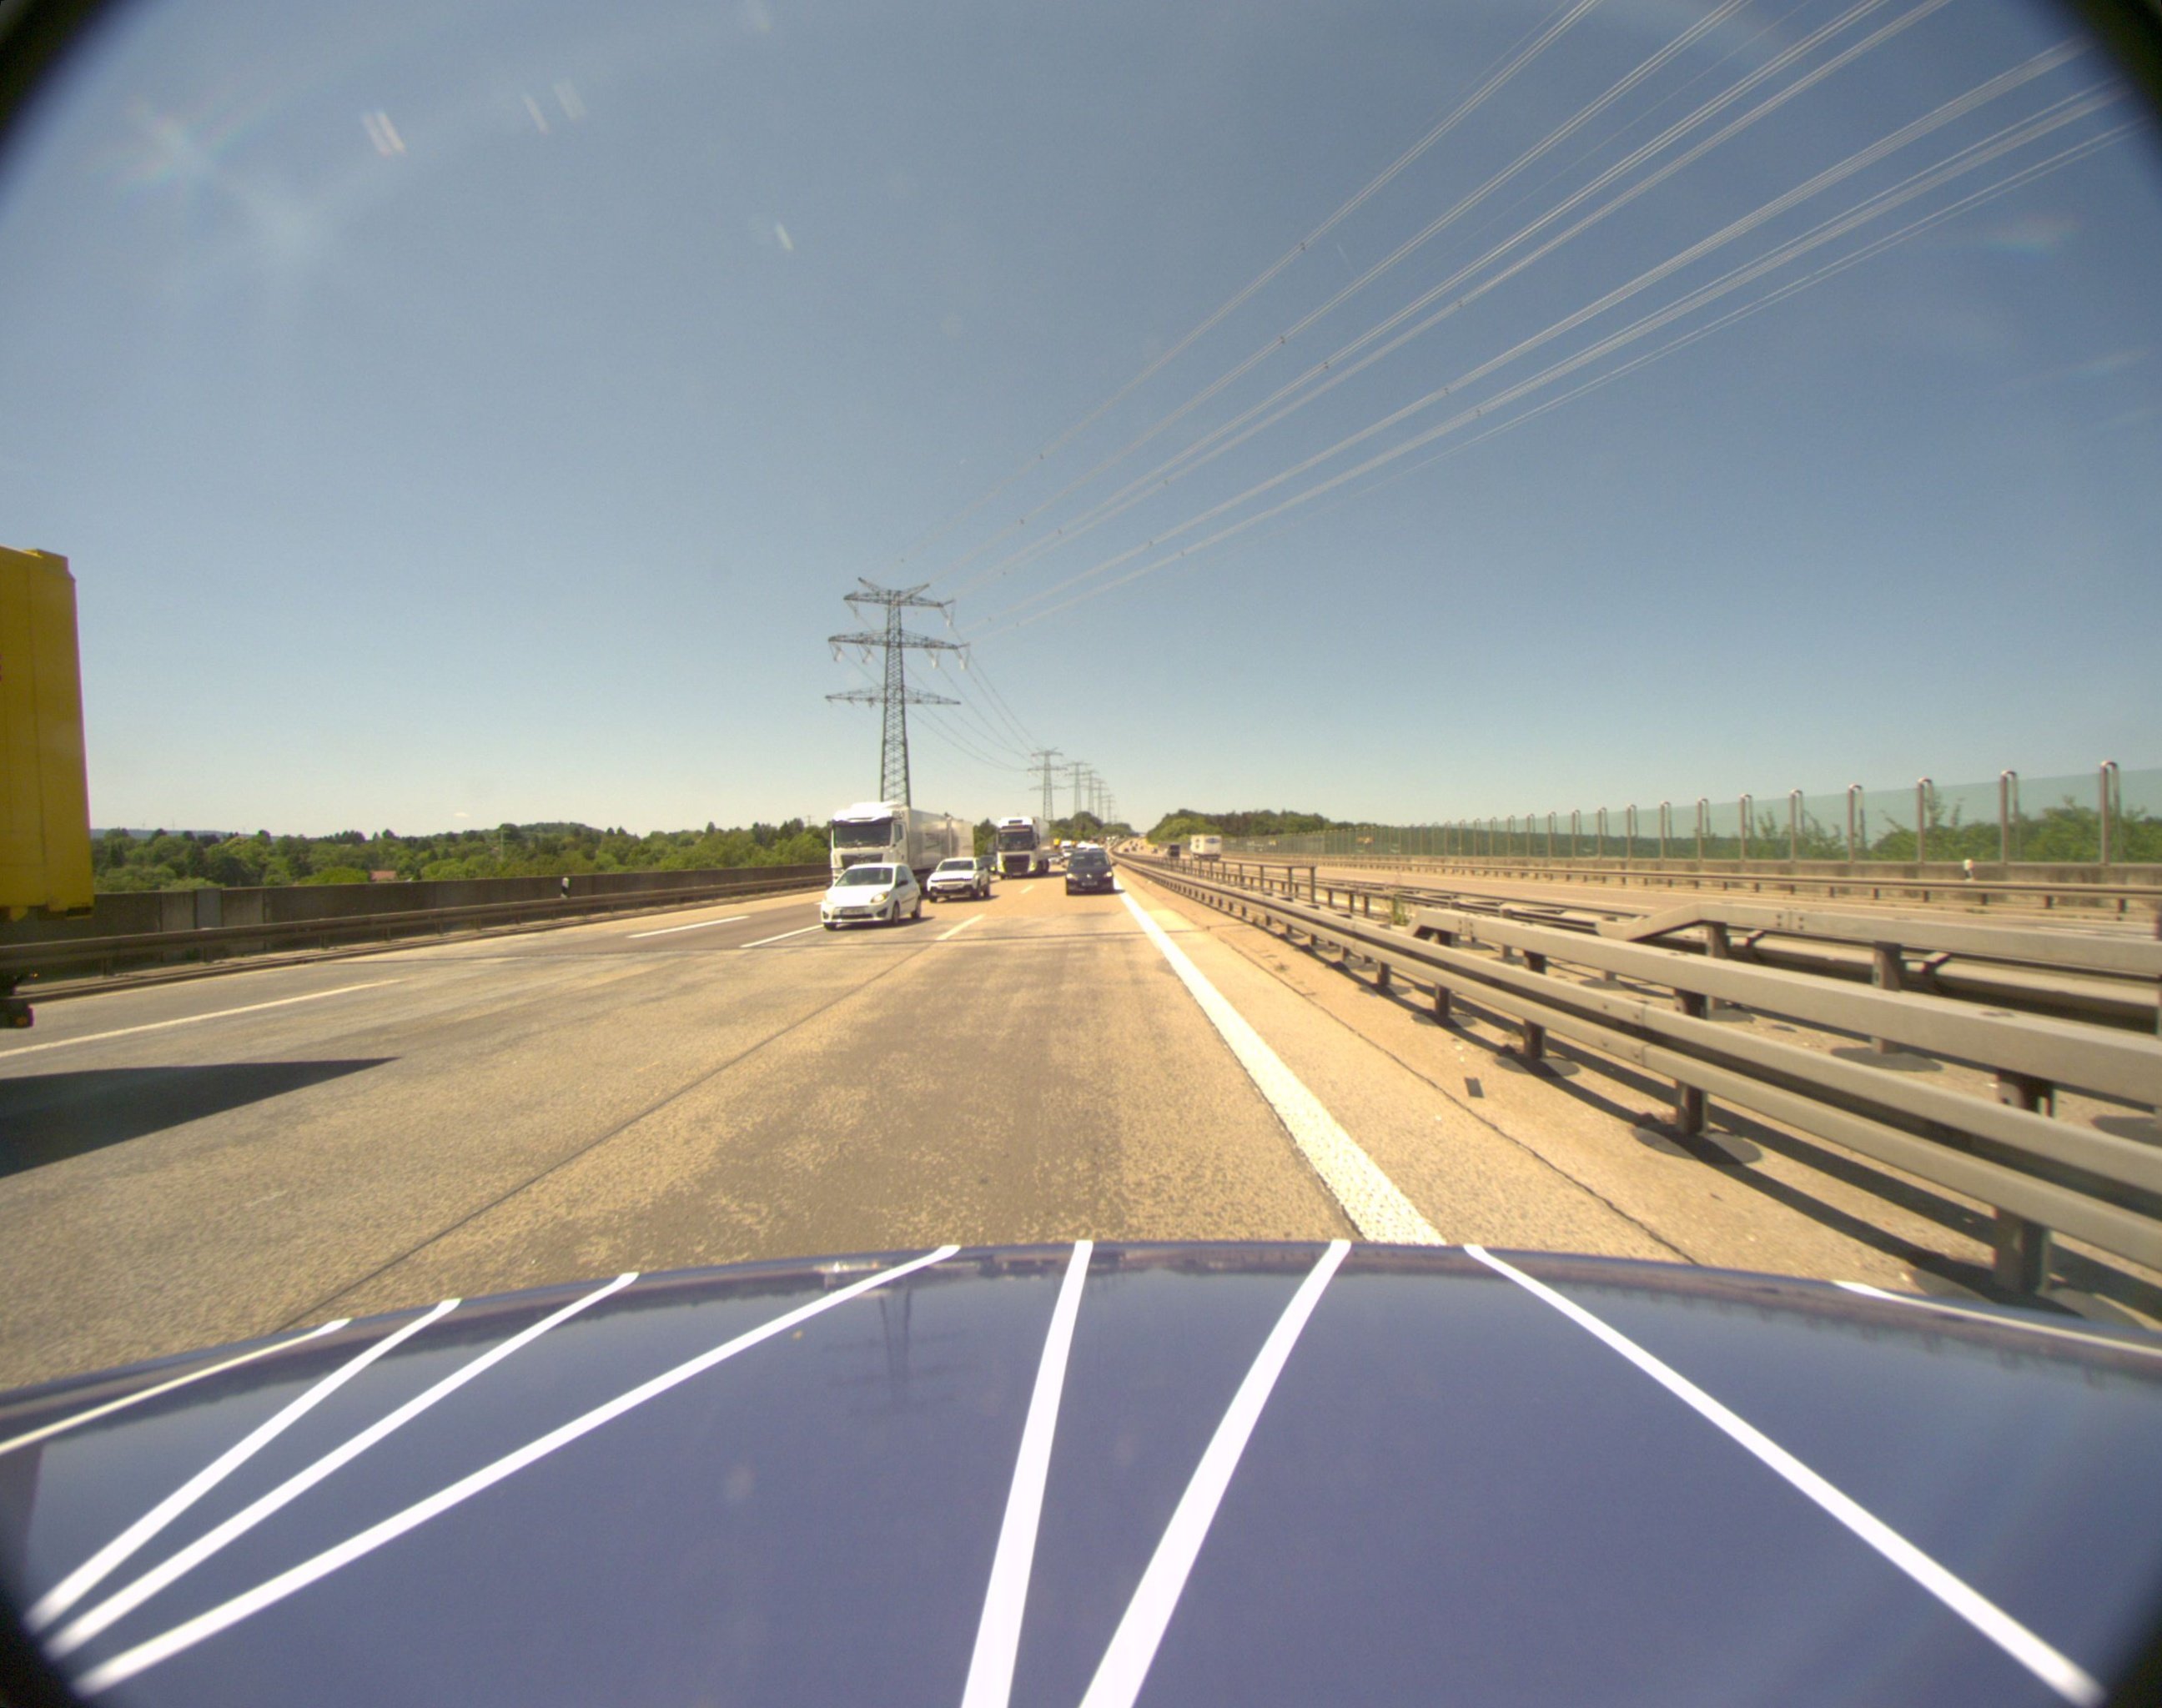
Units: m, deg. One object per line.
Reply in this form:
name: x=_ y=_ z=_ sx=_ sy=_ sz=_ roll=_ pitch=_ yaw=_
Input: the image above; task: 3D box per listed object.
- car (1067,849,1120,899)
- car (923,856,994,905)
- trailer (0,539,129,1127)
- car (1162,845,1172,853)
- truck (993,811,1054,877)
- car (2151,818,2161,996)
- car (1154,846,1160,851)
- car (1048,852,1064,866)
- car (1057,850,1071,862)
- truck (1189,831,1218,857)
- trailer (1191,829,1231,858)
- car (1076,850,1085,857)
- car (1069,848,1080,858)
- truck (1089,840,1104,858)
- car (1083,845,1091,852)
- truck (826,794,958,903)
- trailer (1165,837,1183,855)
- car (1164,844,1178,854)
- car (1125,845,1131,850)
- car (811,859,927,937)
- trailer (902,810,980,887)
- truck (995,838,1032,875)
car: x=0.488 y=0.671 z=27.867 sx=1.748 sy=1.569 sz=3.999 roll=-3 pitch=1 yaw=2
car: x=-4.376 y=0.905 z=27.743 sx=1.776 sy=1.521 sz=3.851 roll=-3 pitch=1 yaw=2
trailer: x=-8.941 y=-0.069 z=1.190 sx=2.772 sy=4.093 sz=9.376 roll=-3 pitch=1 yaw=1
car: x=18.705 y=-1.048 z=164.970 sx=1.753 sy=1.686 sz=4.384 roll=0 pitch=1 yaw=1
truck: x=-3.831 y=-0.667 z=54.365 sx=2.717 sy=4.015 sz=14.255 roll=-3 pitch=0 yaw=2
car: x=12.669 y=0.575 z=5.851 sx=1.998 sy=1.930 sz=4.896 roll=-3 pitch=1 yaw=1
car: x=22.530 y=-1.619 z=225.479 sx=1.656 sy=1.454 sz=3.541 roll=0 pitch=1 yaw=1
car: x=-3.203 y=0.601 z=96.981 sx=1.821 sy=1.569 sz=3.999 roll=-3 pitch=1 yaw=1
car: x=-2.537 y=0.275 z=113.027 sx=1.821 sy=1.569 sz=3.999 roll=-3 pitch=1 yaw=1
truck: x=19.973 y=-1.616 z=124.219 sx=4.016 sy=4.204 sz=4.858 roll=-1 pitch=1 yaw=0
trailer: x=19.842 y=-1.569 z=116.856 sx=3.999 sy=4.211 sz=14.039 roll=-1 pitch=0 yaw=1
car: x=-0.119 y=-0.174 z=176.910 sx=1.821 sy=1.569 sz=3.999 roll=-3 pitch=1 yaw=1
car: x=-1.152 y=-0.170 z=133.660 sx=1.821 sy=1.569 sz=3.999 roll=-3 pitch=1 yaw=1
truck: x=2.549 y=-0.806 z=126.063 sx=2.309 sy=2.789 sz=5.109 roll=-3 pitch=1 yaw=2
car: x=1.690 y=-1.522 z=209.859 sx=1.998 sy=2.002 sz=3.999 roll=-3 pitch=1 yaw=1
truck: x=-7.950 y=-0.254 z=33.886 sx=2.695 sy=3.908 sz=11.296 roll=-3 pitch=1 yaw=1
trailer: x=14.673 y=-1.283 z=120.236 sx=2.171 sy=2.761 sz=5.375 roll=2 pitch=1 yaw=1
car: x=14.806 y=-0.842 z=125.141 sx=1.875 sy=1.616 sz=4.628 roll=-3 pitch=1 yaw=1
car: x=15.890 y=-2.040 z=256.326 sx=1.796 sy=1.564 sz=3.999 roll=-3 pitch=1 yaw=1
car: x=-4.965 y=0.972 z=18.323 sx=1.659 sy=1.502 sz=3.825 roll=-3 pitch=1 yaw=0
trailer: x=-7.822 y=-0.317 z=43.517 sx=2.752 sy=3.918 sz=7.773 roll=-3 pitch=1 yaw=1
truck: x=-7.458 y=0.156 z=85.726 sx=2.840 sy=3.858 sz=11.272 roll=-3 pitch=1 yaw=1
